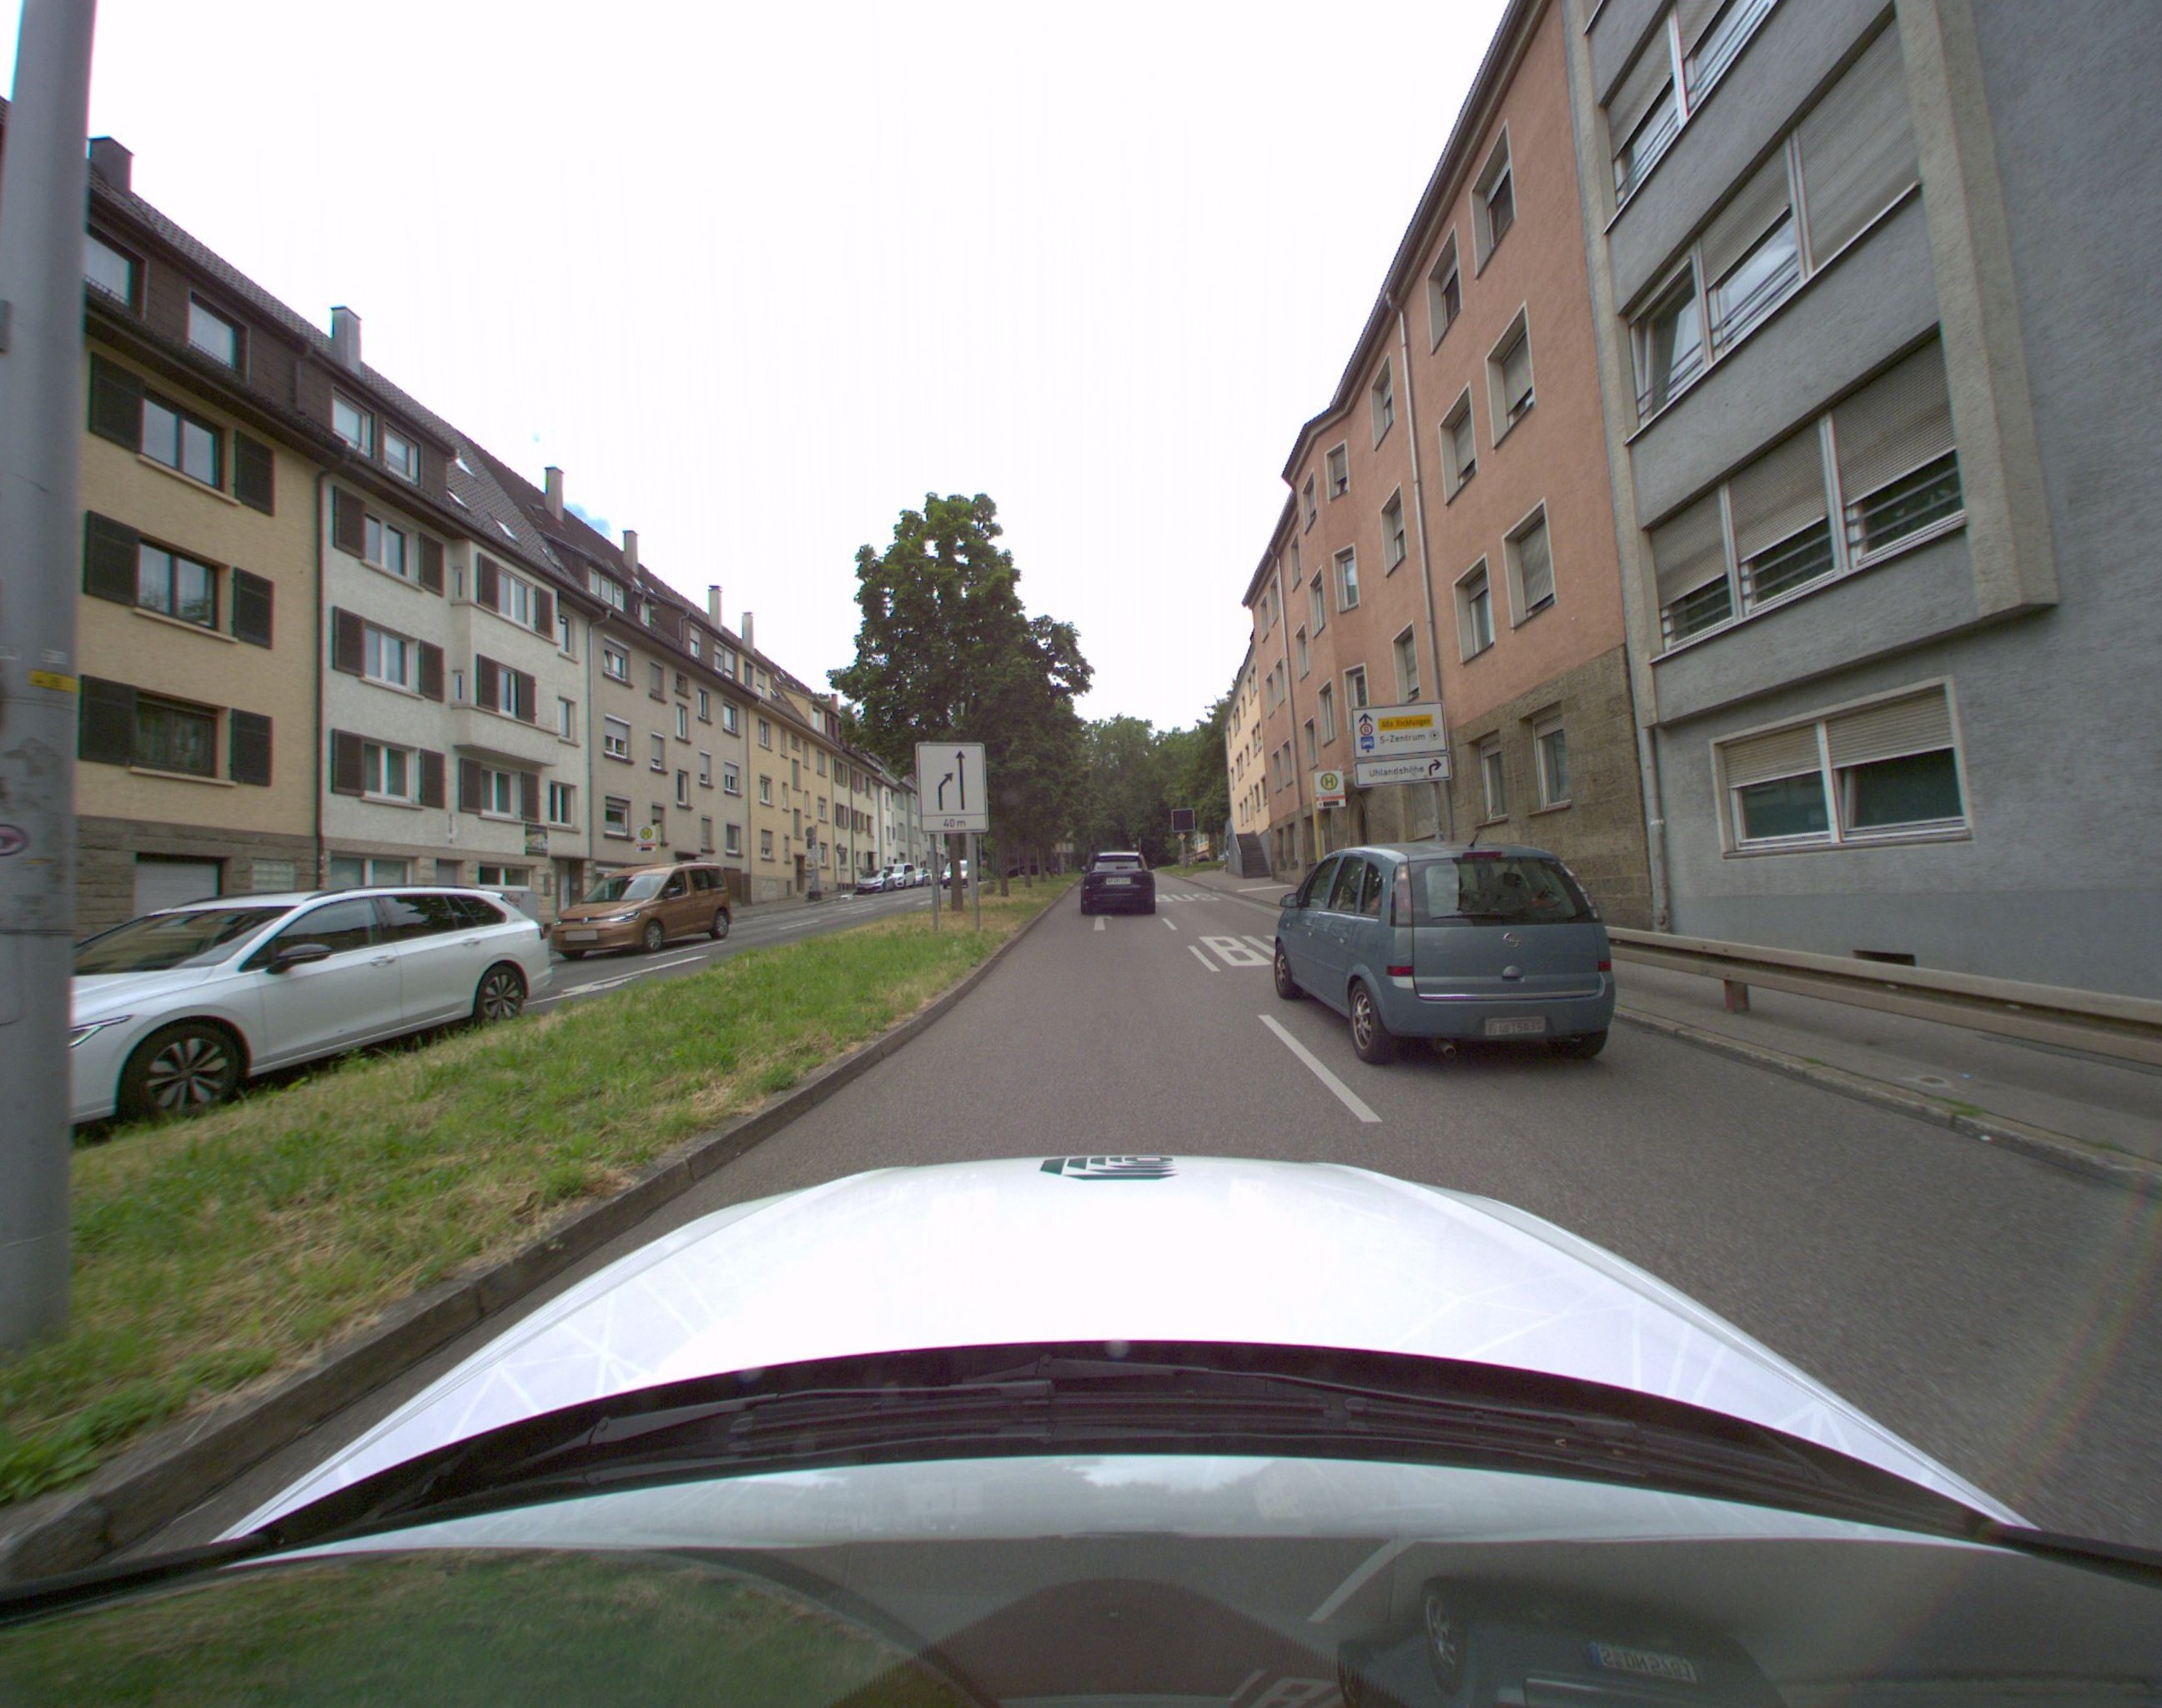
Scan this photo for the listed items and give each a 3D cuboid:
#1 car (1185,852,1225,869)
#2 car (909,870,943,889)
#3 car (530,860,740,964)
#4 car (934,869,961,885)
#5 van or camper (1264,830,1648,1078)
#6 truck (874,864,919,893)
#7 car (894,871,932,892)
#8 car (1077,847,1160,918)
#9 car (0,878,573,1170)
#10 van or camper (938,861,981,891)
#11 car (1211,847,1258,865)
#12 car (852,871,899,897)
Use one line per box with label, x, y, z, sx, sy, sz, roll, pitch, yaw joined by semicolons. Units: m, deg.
car;12.895;0.689;84.251;4.023;1.418;1.975;-3;-1;-44
car;-13.528;2.215;71.363;1.986;1.474;4.159;-4;-1;2
car;-9.236;1.095;17.369;1.872;1.816;4.354;-3;0;2
car;-13.189;2.258;80.544;1.989;1.423;4.208;-4;-1;-2
van or camper;2.844;0.667;7.122;1.729;1.578;3.647;-1;-1;1
truck;-13.648;1.816;60.655;1.987;1.920;5.347;-4;-1;1
car;-13.568;2.204;65.972;1.987;1.552;4.382;-4;-1;1
car;1.055;0.757;22.570;1.985;1.653;4.003;-4;-2;3
car;-6.489;1.014;6.602;1.739;1.467;4.586;-3;-1;1
van or camper;-7.923;1.421;53.496;1.900;1.761;4.656;-3;-1;2
car;15.048;0.177;79.899;4.136;1.428;1.848;-4;0;-24
car;-13.739;1.953;54.635;1.987;1.552;4.158;-4;-1;1
